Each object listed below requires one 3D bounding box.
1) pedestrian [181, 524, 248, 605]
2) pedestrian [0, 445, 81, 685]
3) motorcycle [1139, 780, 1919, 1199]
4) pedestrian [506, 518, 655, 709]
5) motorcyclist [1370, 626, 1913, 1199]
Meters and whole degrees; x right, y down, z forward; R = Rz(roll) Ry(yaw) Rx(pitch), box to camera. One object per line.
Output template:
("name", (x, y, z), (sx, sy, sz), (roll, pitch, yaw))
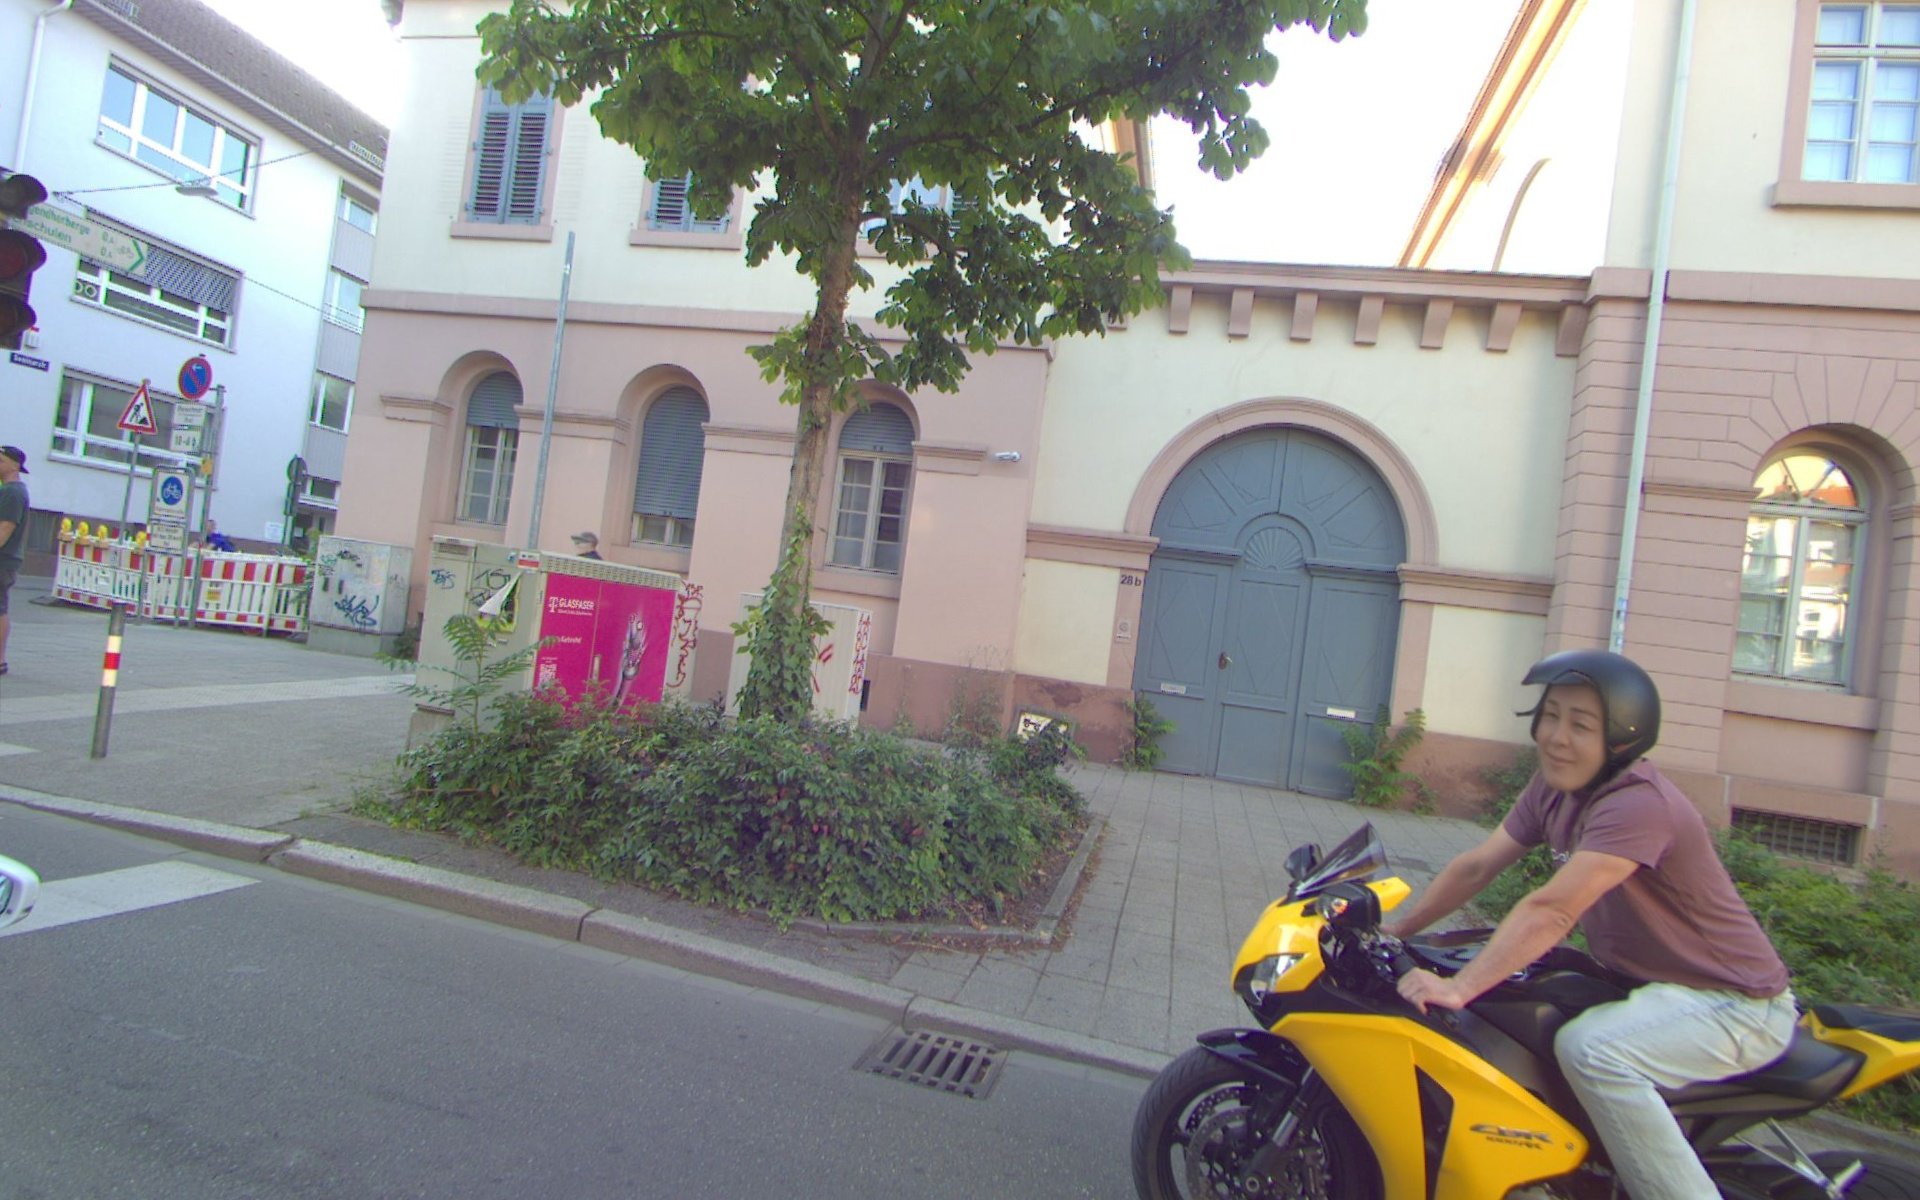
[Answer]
("pedestrian", (-14.796, -0.699, 19.980), (0.552, 1.484, 0.741), (6, -1, 14))
("pedestrian", (-7.766, -0.323, 8.070), (0.885, 1.837, 0.784), (8, 1, -42))
("motorcycle", (1.472, 1.205, 2.396), (1.929, 1.173, 0.795), (7, -2, 10))
("pedestrian", (-4.079, 0.144, 10.873), (1.062, 1.862, 0.801), (7, 2, 12))
("motorcyclist", (1.516, 0.843, 2.407), (0.685, 1.436, 0.795), (7, -2, 10))
